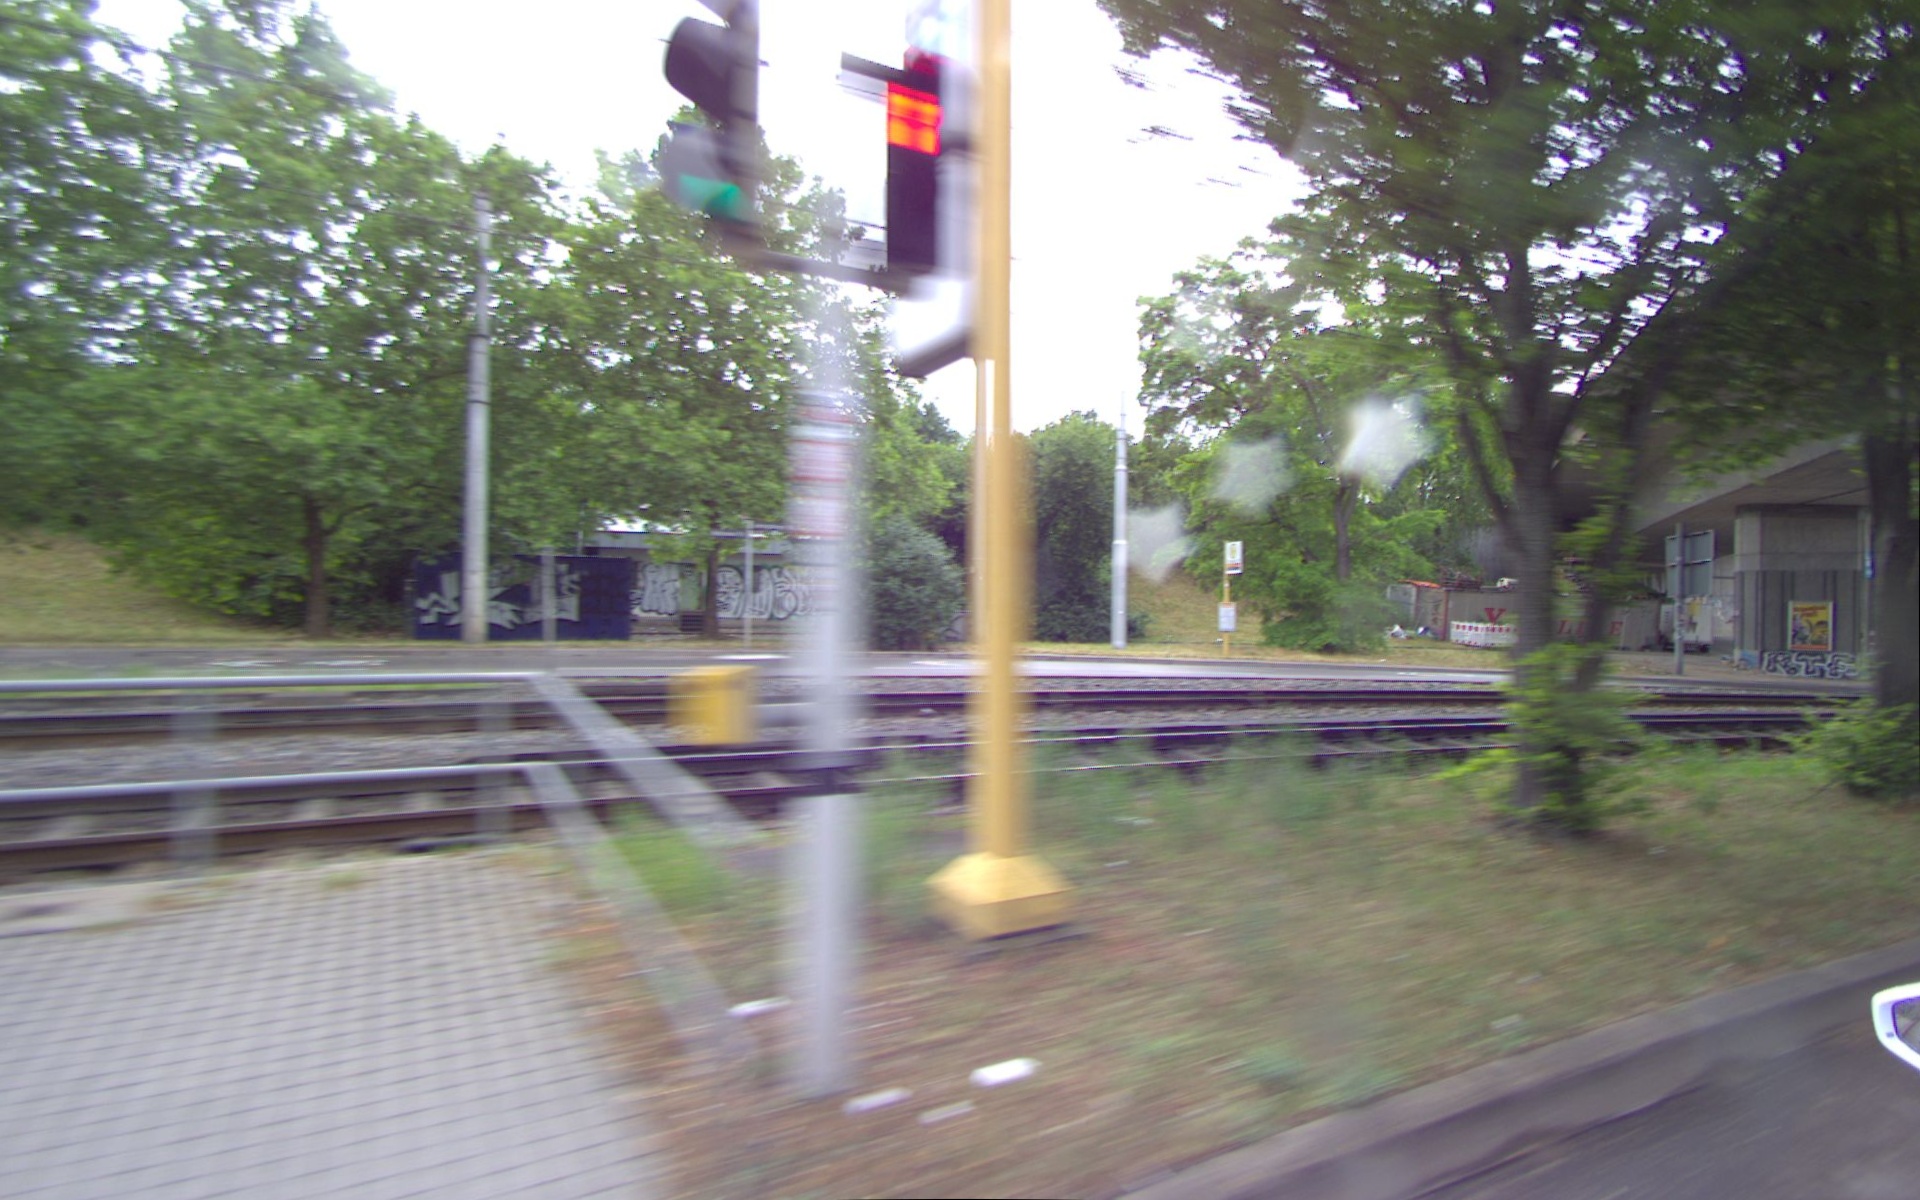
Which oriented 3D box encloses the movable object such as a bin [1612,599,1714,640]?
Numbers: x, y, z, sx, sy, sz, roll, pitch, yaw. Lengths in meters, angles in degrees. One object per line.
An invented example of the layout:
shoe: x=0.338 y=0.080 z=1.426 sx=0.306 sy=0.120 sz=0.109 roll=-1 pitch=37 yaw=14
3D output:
movable object such as a bin: x=46.560 y=1.269 z=66.553 sx=5.370 sy=2.486 sz=2.628 roll=2 pitch=1 yaw=-14

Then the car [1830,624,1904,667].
car: x=42.533 y=2.093 z=47.171 sx=1.687 sy=1.690 sz=3.194 roll=3 pitch=3 yaw=26

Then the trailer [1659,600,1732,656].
trailer: x=38.634 y=1.439 z=52.860 sx=1.961 sy=2.761 sz=4.123 roll=2 pitch=0 yaw=21
